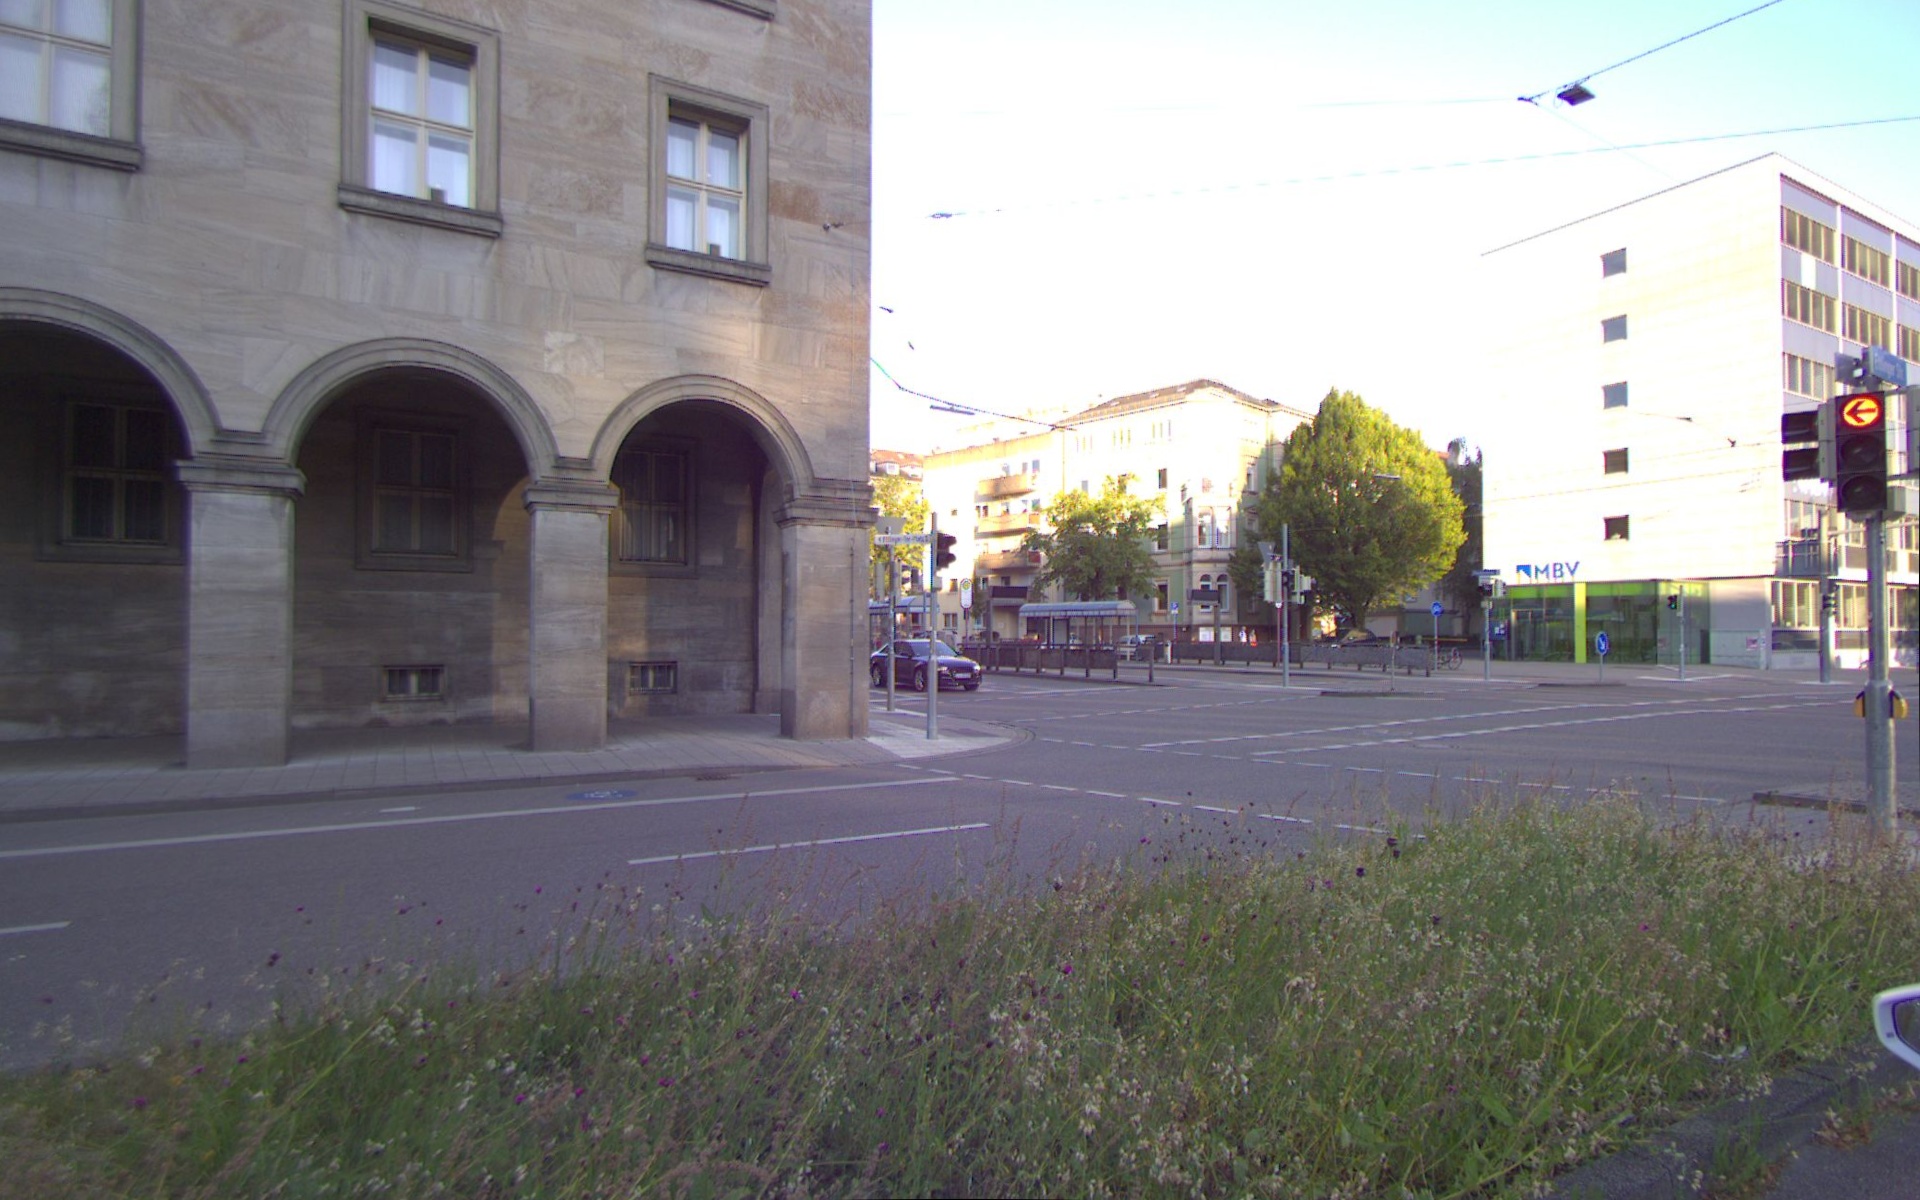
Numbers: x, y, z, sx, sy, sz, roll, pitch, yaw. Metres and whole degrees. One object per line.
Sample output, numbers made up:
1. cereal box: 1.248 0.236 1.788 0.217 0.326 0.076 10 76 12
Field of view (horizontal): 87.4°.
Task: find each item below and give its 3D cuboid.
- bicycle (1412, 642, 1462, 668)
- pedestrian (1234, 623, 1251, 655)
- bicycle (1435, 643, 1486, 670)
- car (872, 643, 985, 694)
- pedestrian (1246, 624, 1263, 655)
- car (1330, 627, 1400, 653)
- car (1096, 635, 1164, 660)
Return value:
1. bicycle: 21.120 2.406 44.446 2.183 1.127 0.834 1 -2 -26
2. pedestrian: 16.168 2.245 57.465 0.718 1.813 0.634 2 -2 -44
3. bicycle: 21.612 2.436 43.375 2.183 1.127 0.834 1 -2 -26
4. car: -1.008 1.968 29.757 1.791 1.344 4.120 1 -2 -27
5. pedestrian: 16.912 2.268 57.683 0.718 1.813 0.634 2 -2 -43
6. car: 22.098 2.173 54.781 3.553 1.390 1.826 1 -2 -32
7. car: 9.991 2.769 59.242 3.545 1.390 1.830 -2 -3 45
